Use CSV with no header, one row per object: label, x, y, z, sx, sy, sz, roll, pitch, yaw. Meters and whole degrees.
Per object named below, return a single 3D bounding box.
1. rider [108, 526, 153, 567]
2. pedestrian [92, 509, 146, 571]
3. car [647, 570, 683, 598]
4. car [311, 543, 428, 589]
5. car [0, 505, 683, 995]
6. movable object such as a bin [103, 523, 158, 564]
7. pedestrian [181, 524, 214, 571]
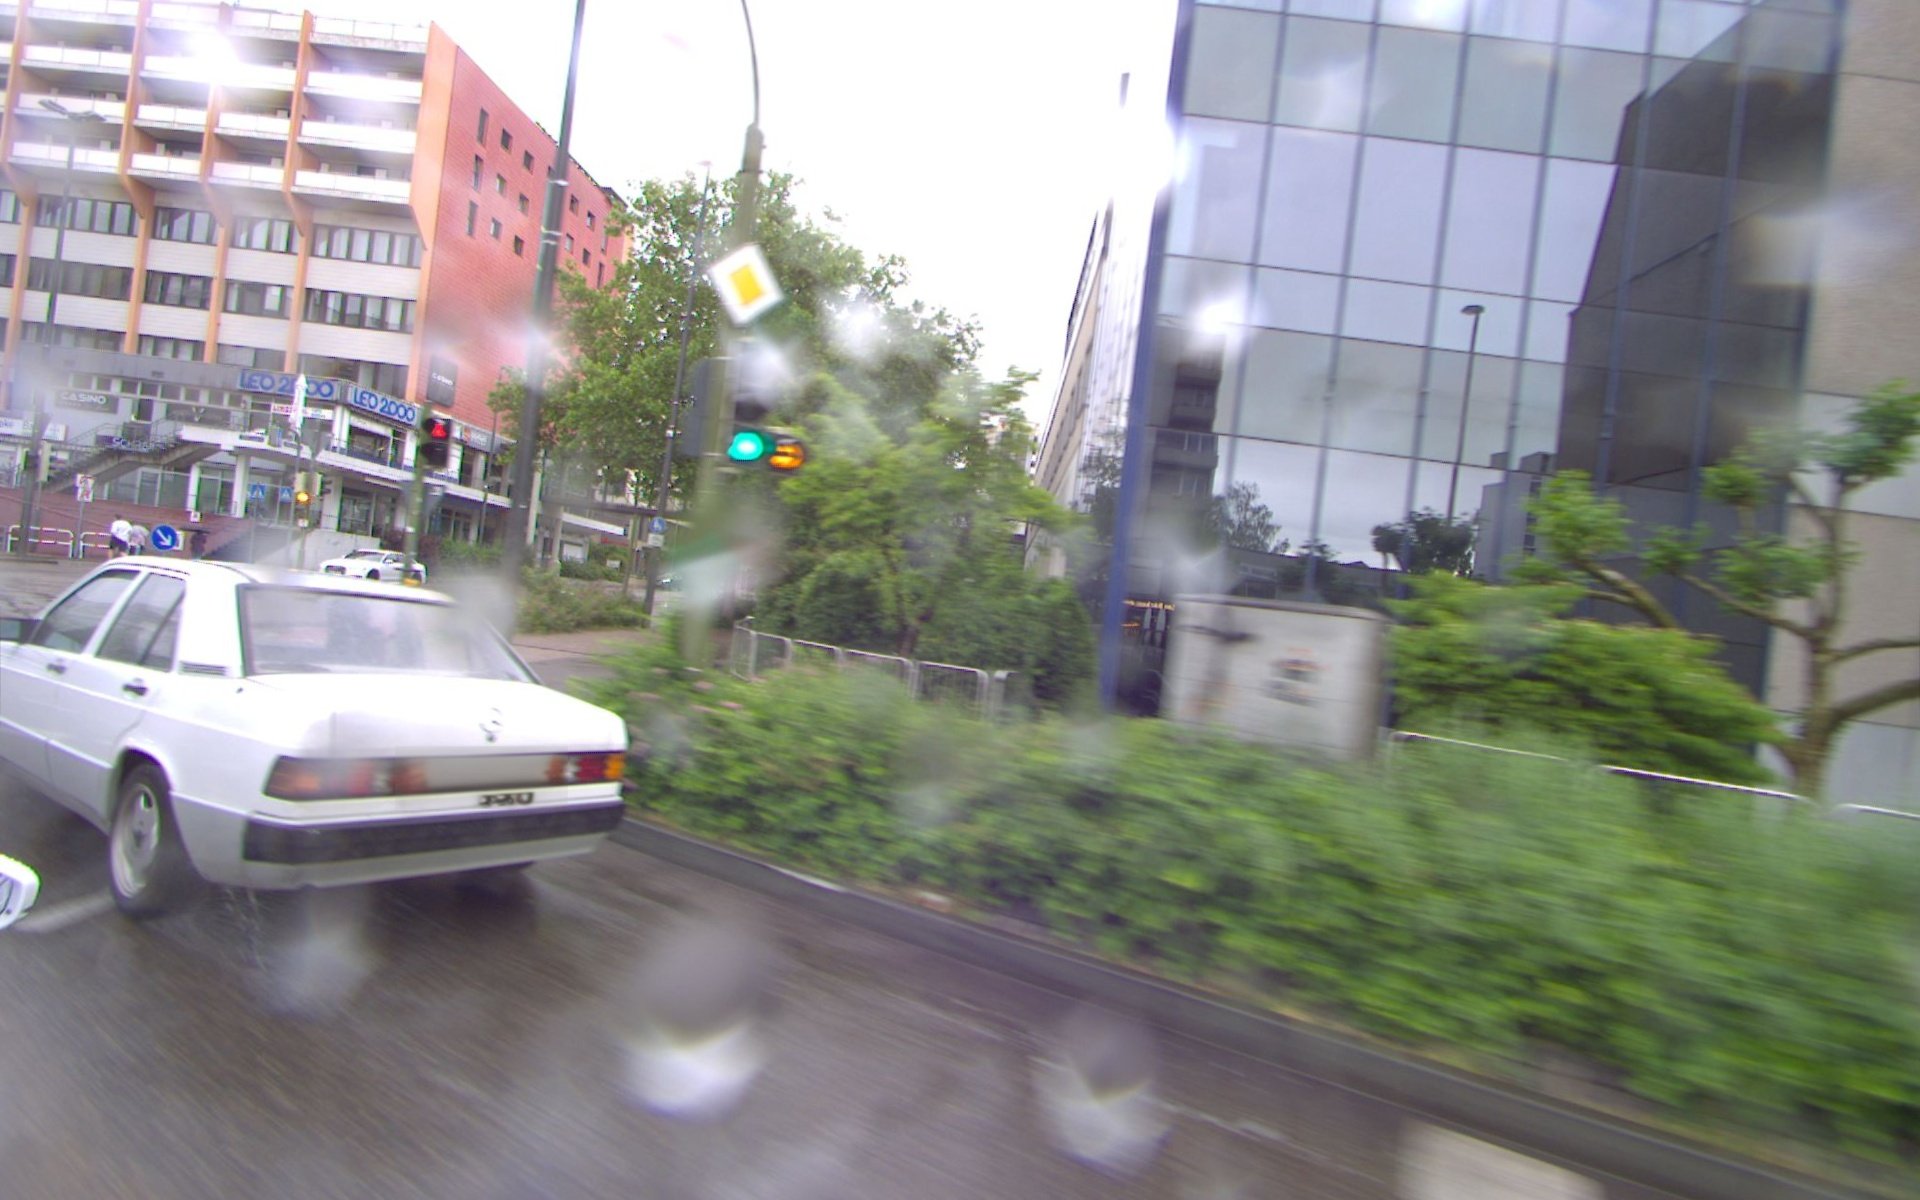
rider,-29.222,-1.885,35.455,1.073,1.302,0.921,7,3,35
pedestrian,-25.506,-1.812,30.522,1.110,1.711,0.829,6,0,33
car,-25.166,-1.345,85.847,1.964,2.038,3.998,6,-1,-4
car,-23.198,-1.292,39.778,1.779,1.423,4.789,5,-1,-1
car,-3.539,0.441,5.064,4.200,1.464,1.637,6,-3,33
movable object such as a bin,-29.239,-1.989,35.459,1.432,1.349,1.129,3,0,35
pedestrian,-29.700,-2.044,39.182,0.792,1.689,0.919,7,0,-44
